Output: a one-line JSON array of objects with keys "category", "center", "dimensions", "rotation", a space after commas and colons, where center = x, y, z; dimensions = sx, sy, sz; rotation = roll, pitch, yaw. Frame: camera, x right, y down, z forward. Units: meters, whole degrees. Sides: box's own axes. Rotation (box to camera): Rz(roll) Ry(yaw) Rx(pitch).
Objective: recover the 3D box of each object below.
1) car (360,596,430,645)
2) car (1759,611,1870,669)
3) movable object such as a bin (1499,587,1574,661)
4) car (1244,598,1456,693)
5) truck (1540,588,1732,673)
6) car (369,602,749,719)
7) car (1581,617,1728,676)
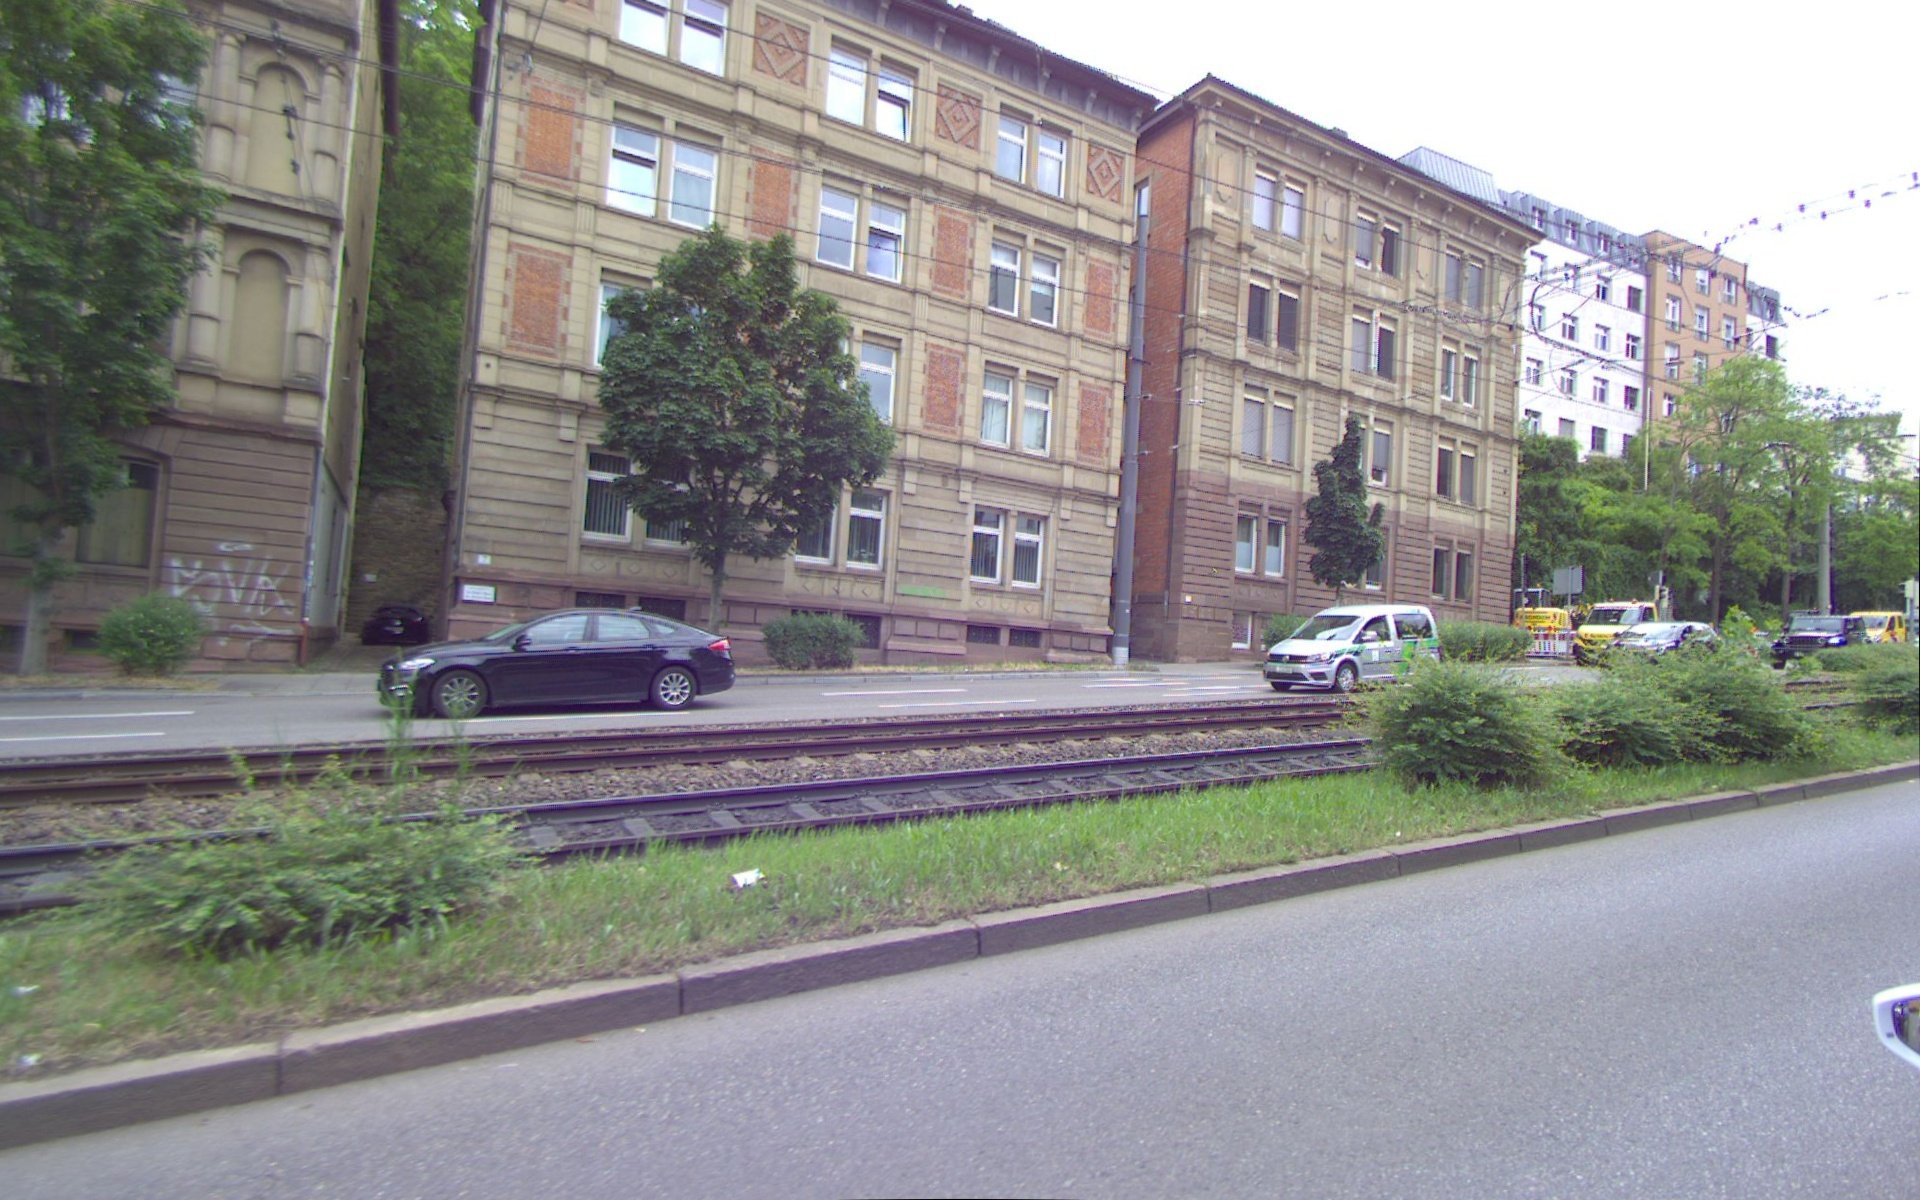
[{"category": "car", "center": [-18.312, 0.671, 32.476], "dimensions": [1.834, 1.472, 3.966], "rotation": [2, -2, -31]}, {"category": "car", "center": [30.548, 1.435, 35.864], "dimensions": [4.596, 1.901, 1.887], "rotation": [2, 0, -35]}, {"category": "movable object such as a bin", "center": [23.267, 0.992, 40.565], "dimensions": [2.010, 2.875, 1.980], "rotation": [2, -2, -36]}, {"category": "car", "center": [8.247, 0.957, 21.142], "dimensions": [4.466, 1.811, 1.870], "rotation": [2, -3, -32]}, {"category": "truck", "center": [24.451, 1.128, 36.242], "dimensions": [7.072, 2.543, 2.903], "rotation": [4, 0, -31]}, {"category": "car", "center": [-5.706, 0.803, 14.564], "dimensions": [4.889, 1.469, 1.810], "rotation": [1, -1, -31]}, {"category": "car", "center": [20.217, 1.372, 29.215], "dimensions": [4.387, 1.575, 1.856], "rotation": [3, -1, -31]}]
